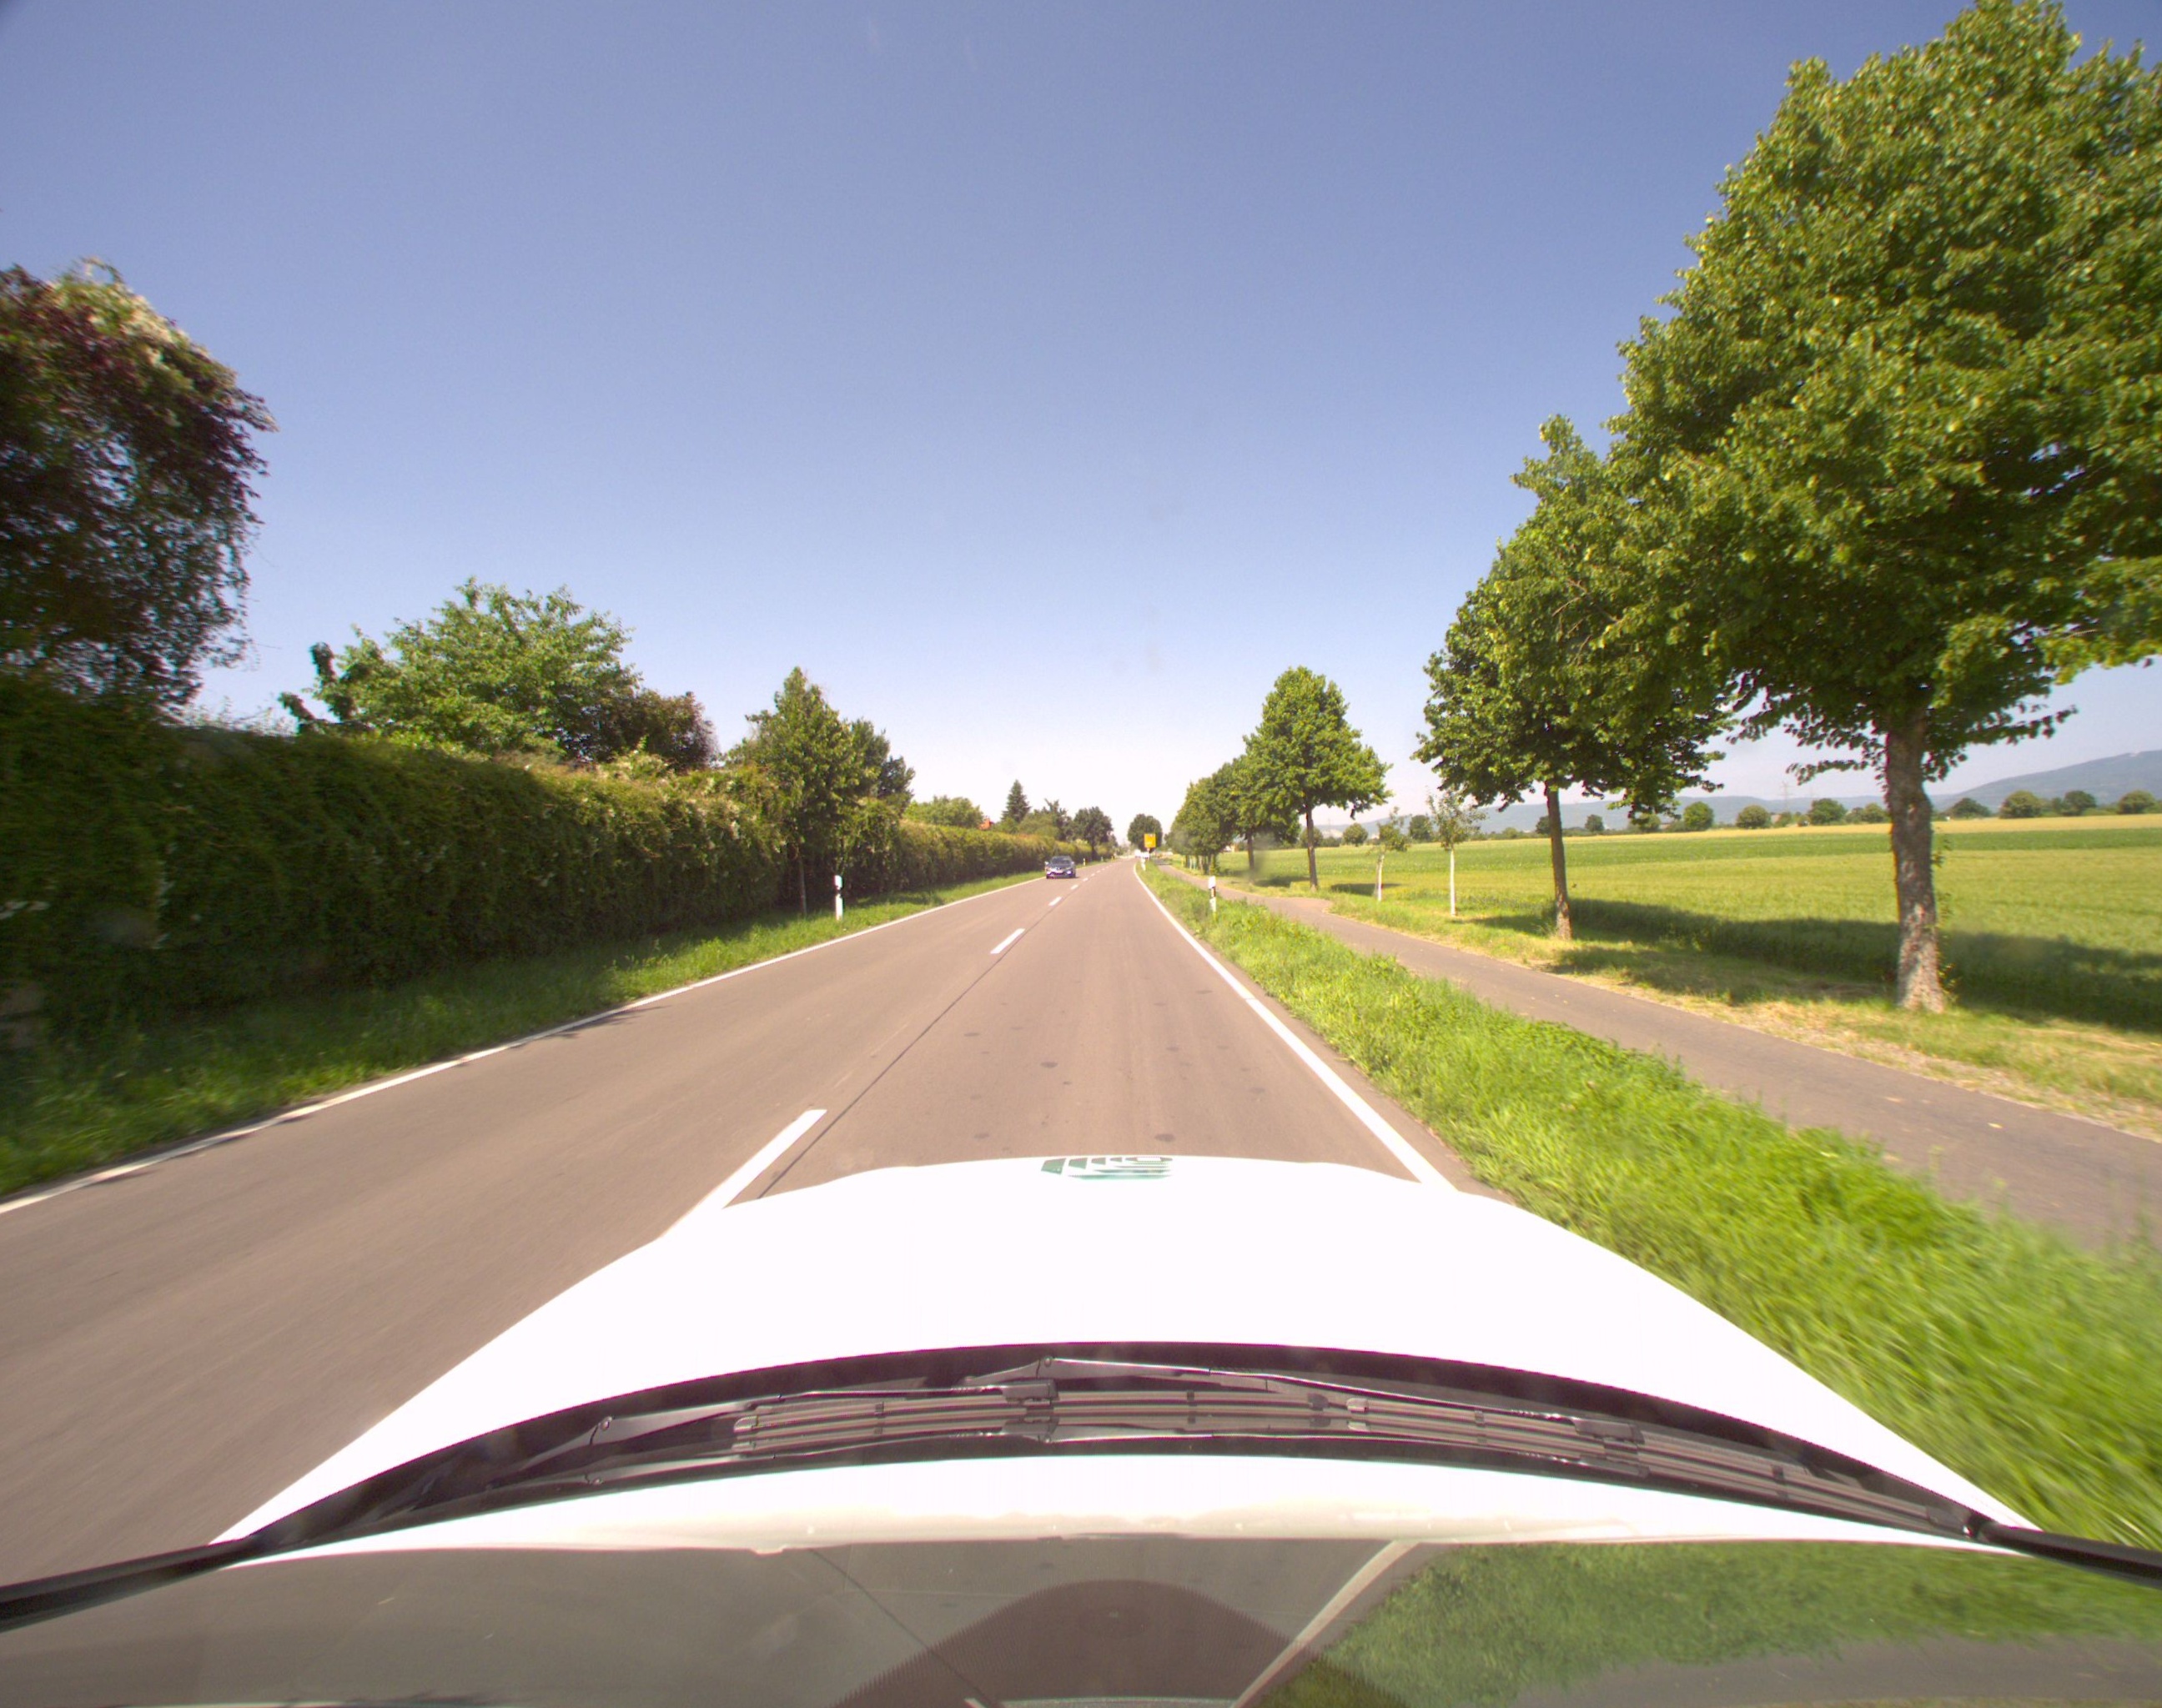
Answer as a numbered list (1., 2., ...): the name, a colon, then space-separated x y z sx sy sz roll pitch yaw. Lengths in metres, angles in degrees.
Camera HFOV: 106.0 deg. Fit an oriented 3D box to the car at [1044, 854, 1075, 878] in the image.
1. car: -1.401 0.776 54.797 1.833 1.467 3.933 -2 0 1
